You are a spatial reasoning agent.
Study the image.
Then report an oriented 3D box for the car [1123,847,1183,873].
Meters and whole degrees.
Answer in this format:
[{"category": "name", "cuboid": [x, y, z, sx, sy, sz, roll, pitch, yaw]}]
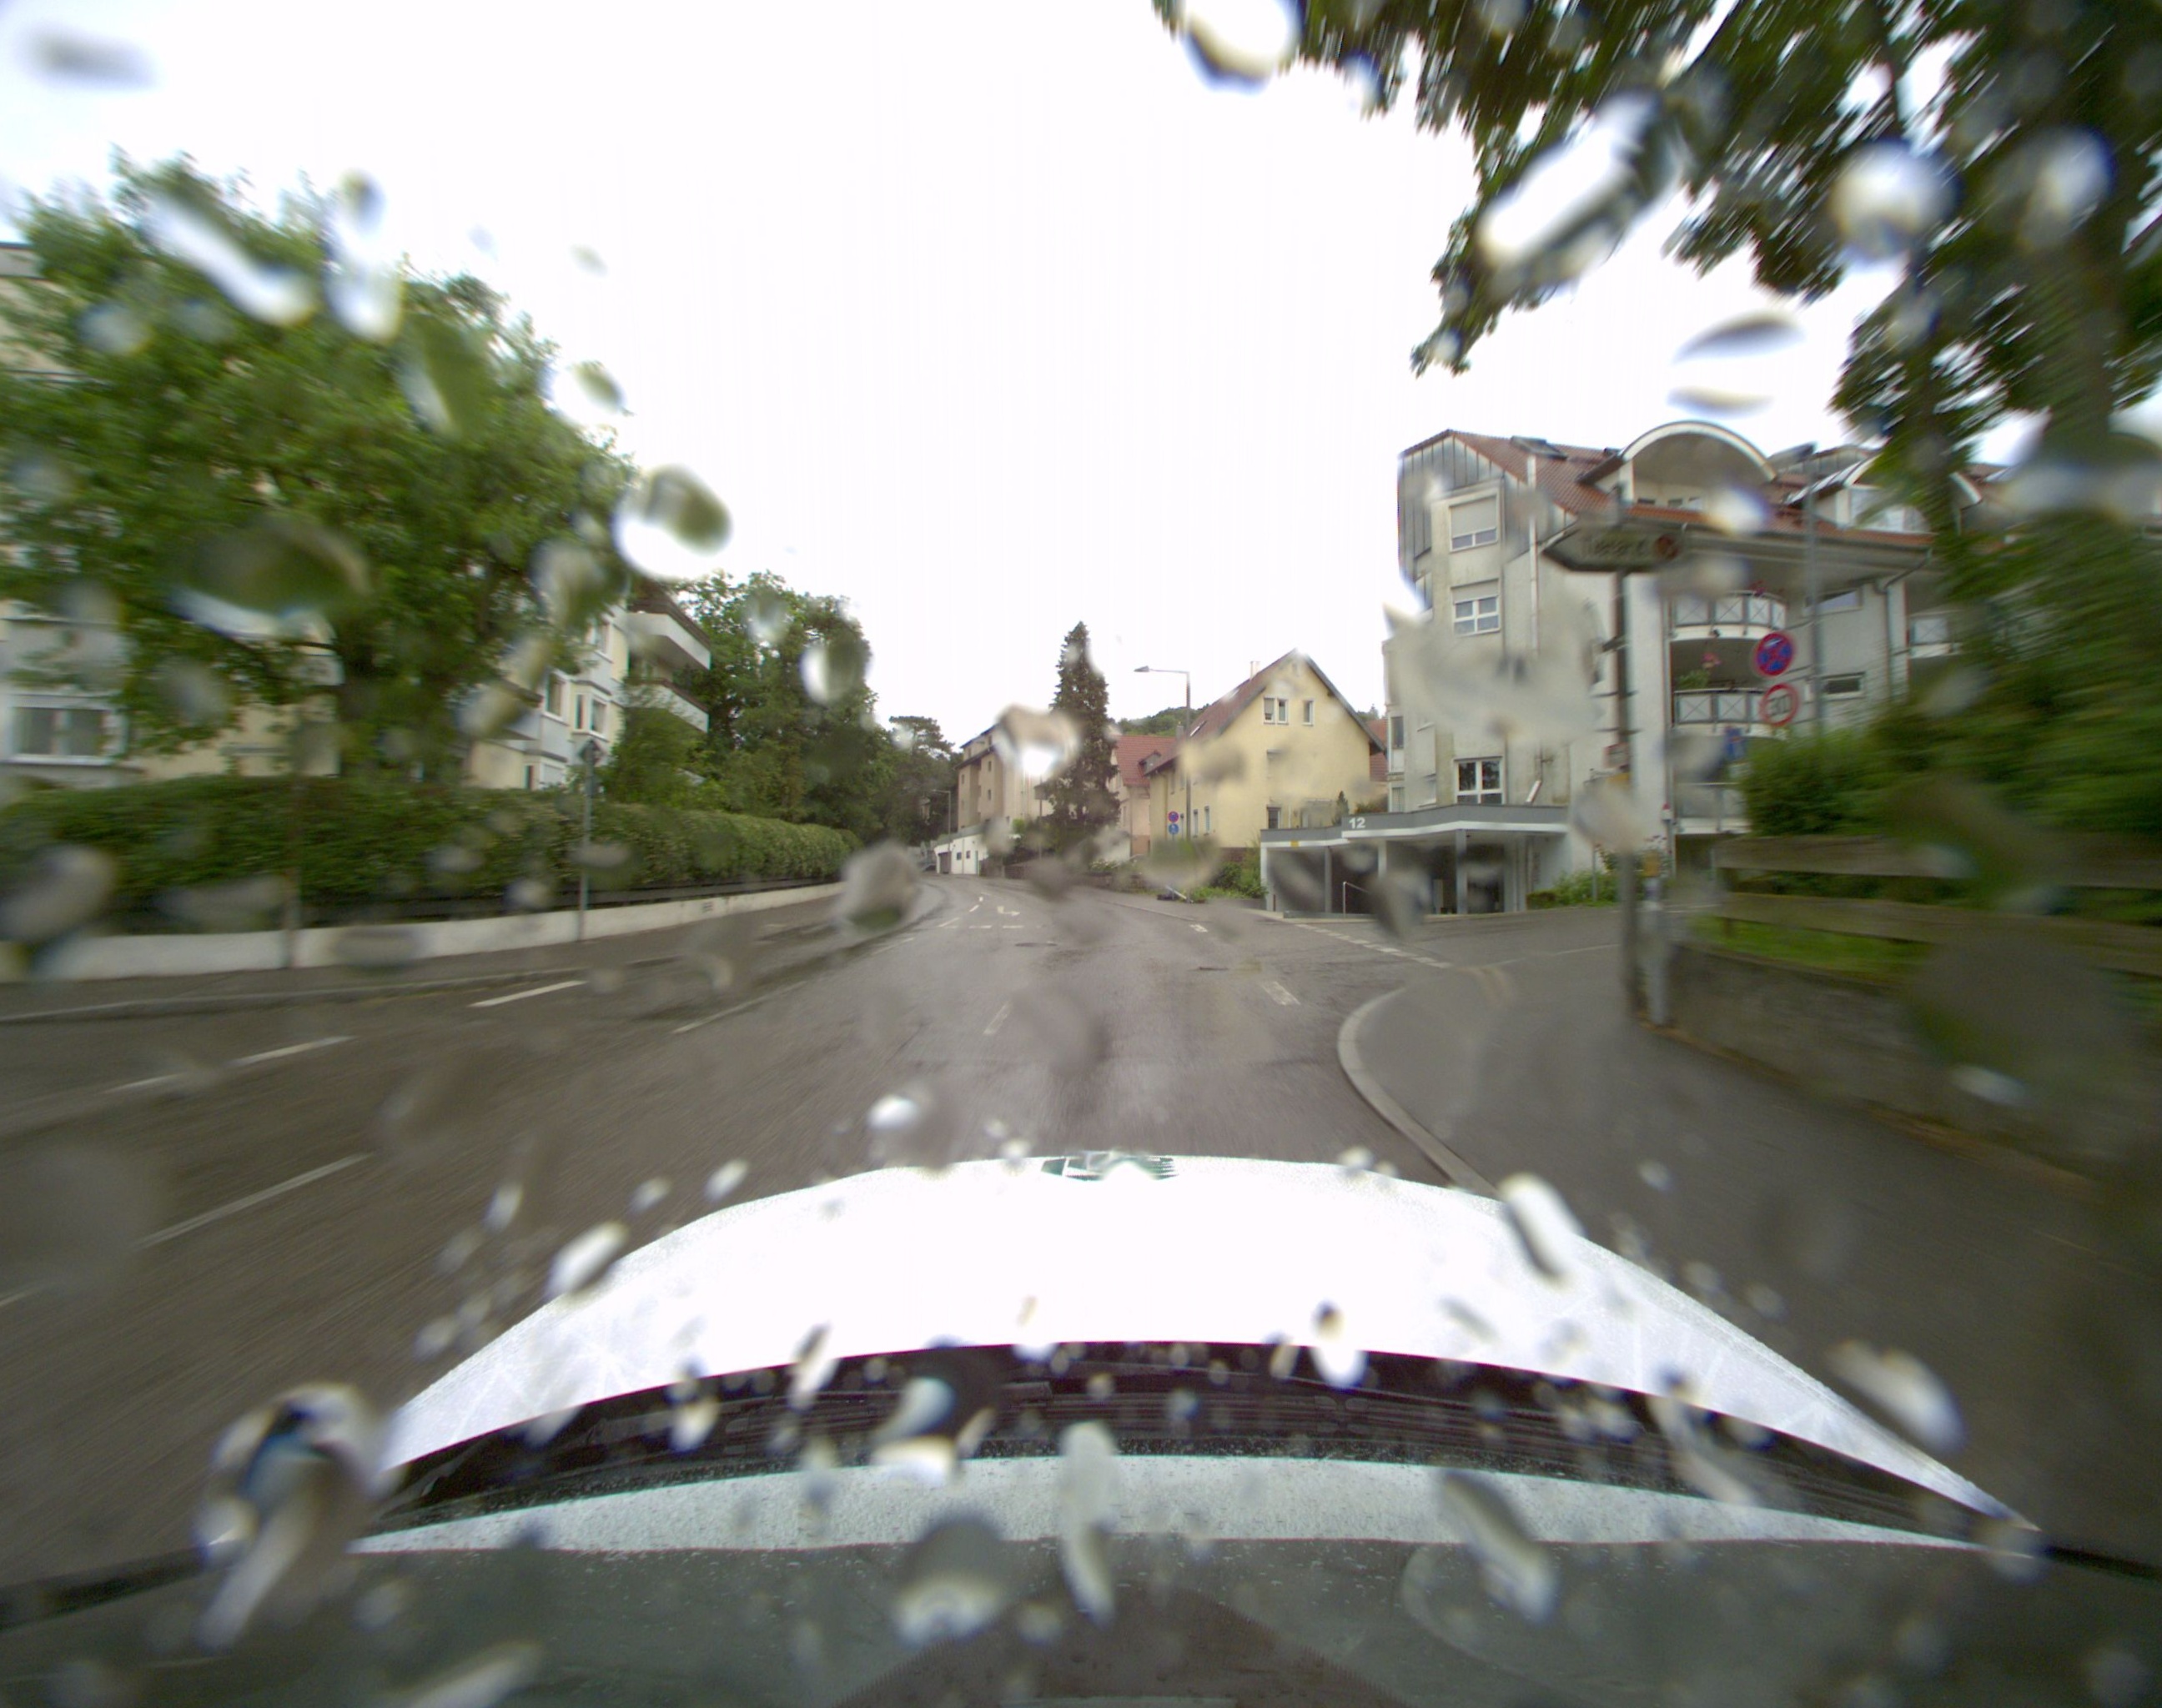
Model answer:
[{"category": "car", "cuboid": [5.145, 0.431, 58.491, 3.857, 1.653, 1.955, -2, 0, -13]}]
